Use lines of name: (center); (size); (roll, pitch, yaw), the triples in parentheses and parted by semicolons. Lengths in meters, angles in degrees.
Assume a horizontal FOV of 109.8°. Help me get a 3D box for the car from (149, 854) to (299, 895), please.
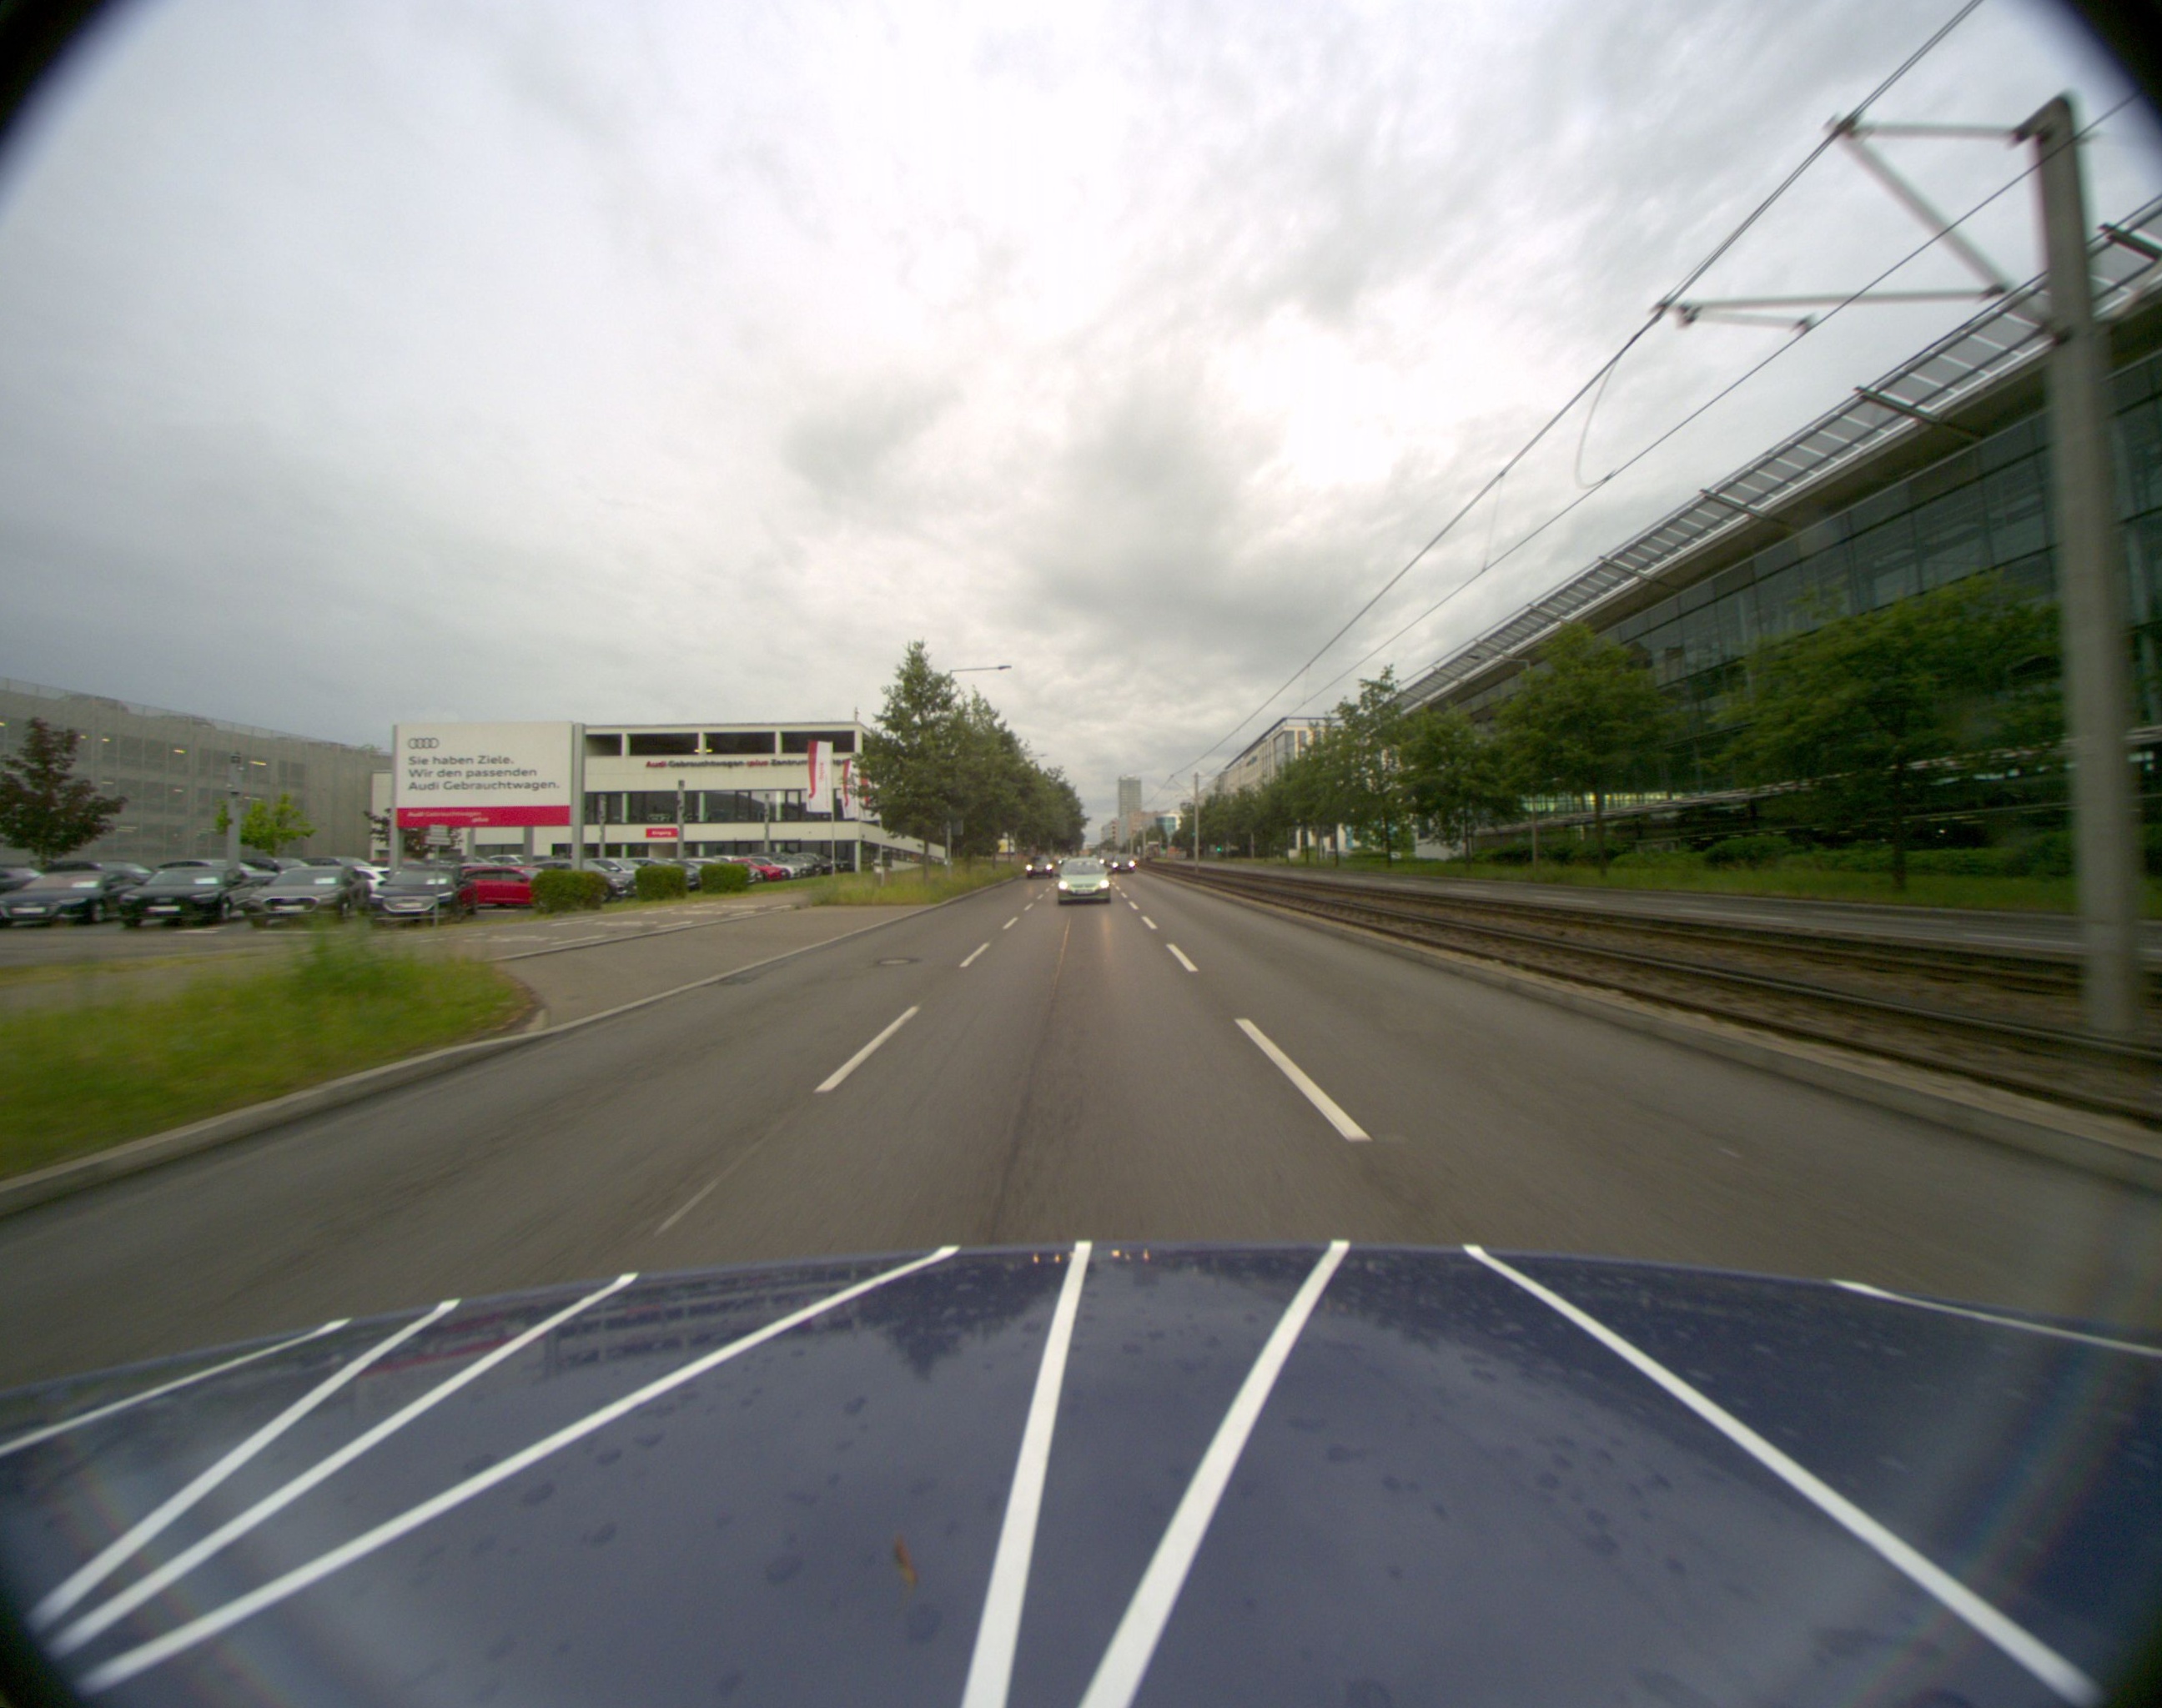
car: (-37.027, 0.864, 32.921); (4.288, 1.584, 1.826); (-1, 1, -2)

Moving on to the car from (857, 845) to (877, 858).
car: (-29.646, -0.408, 105.358); (1.702, 1.666, 3.641); (-3, 1, 0)

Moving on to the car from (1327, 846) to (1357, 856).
car: (39.044, -0.462, 113.828); (3.990, 1.383, 1.806); (-2, 1, 28)

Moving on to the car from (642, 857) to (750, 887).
car: (-19.499, 0.889, 38.610); (4.472, 1.447, 1.930); (0, 1, 0)

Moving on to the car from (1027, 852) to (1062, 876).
car: (-2.615, 0.757, 55.175); (1.828, 1.599, 4.117); (-2, -1, 7)

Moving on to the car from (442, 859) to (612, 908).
car: (-19.470, 1.012, 26.885); (4.474, 1.542, 1.930); (-1, 1, -4)

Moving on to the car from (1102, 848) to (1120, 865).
car: (3.401, 0.330, 84.944); (1.860, 1.799, 4.116); (-2, -1, 3)

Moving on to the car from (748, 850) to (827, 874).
car: (-19.411, 0.540, 50.441); (4.408, 1.492, 2.040); (0, 1, 0)

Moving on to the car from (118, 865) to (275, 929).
car: (-25.143, 1.144, 21.788); (1.775, 1.584, 3.983); (1, 0, -31)

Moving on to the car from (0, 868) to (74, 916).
car: (-38.913, 1.352, 26.745); (4.288, 1.584, 1.826); (-1, 1, -2)

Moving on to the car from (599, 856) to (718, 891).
car: (-19.851, 0.893, 35.812); (4.472, 1.520, 1.930); (0, 1, 0)

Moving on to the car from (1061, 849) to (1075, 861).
car: (-2.017, 0.155, 119.357); (1.860, 1.799, 4.116); (-2, -1, 3)

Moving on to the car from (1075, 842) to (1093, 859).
car: (0.391, -0.498, 98.192); (1.998, 2.002, 4.000); (-3, 1, 4)

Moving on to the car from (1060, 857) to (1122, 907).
car: (0.420, 0.901, 25.931); (1.828, 1.499, 4.115); (-3, -1, 4)

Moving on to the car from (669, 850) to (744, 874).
car: (-26.174, 0.569, 53.181); (4.288, 1.542, 1.826); (-1, 1, -2)

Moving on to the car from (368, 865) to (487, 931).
car: (-18.984, 1.192, 22.275); (1.840, 1.584, 4.350); (-2, 1, -30)

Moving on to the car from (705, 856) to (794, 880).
car: (-19.533, 0.820, 44.871); (4.408, 1.341, 1.930); (0, 2, 0)

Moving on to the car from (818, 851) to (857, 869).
car: (-19.530, 0.481, 61.137); (1.902, 1.330, 3.921); (-1, 1, 0)

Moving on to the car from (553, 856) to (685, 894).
car: (-19.839, 0.888, 32.757); (4.472, 1.542, 1.930); (0, 1, 0)

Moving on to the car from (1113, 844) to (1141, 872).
car: (3.588, 0.307, 59.379); (1.998, 2.002, 4.000); (-3, 1, 3)

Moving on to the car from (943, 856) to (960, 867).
car: (-18.914, 1.063, 111.198); (1.702, 1.476, 4.460); (-3, 1, 0)

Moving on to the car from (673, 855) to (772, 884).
car: (-19.661, 0.830, 41.815); (4.472, 1.447, 1.930); (-1, 1, 0)

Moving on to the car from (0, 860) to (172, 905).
car: (-38.344, 1.073, 29.275); (4.288, 1.584, 1.826); (-1, 1, -2)

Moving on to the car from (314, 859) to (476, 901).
car: (-26.995, 0.995, 30.024); (4.474, 1.542, 1.930); (0, 1, -4)

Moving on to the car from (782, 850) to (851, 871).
car: (-19.742, 0.486, 56.839); (4.408, 1.473, 1.930); (-1, 1, 0)

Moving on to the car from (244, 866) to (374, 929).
car: (-21.948, 1.163, 21.764); (1.775, 1.584, 3.553); (1, 0, -31)

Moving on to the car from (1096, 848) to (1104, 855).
car: (5.660, -0.711, 226.714); (1.998, 1.838, 4.000); (-3, 1, 2)

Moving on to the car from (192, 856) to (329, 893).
car: (-38.397, 0.925, 35.648); (4.288, 1.584, 1.826); (-1, 1, -2)

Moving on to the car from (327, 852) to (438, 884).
car: (-38.495, 0.761, 41.936); (4.288, 1.584, 1.826); (-1, 1, -2)

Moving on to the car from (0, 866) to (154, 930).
car: (-28.162, 1.161, 21.246); (1.775, 1.584, 3.553); (1, 0, -31)

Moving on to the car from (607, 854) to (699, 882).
car: (-25.157, 0.812, 44.746); (4.288, 1.542, 1.826); (-1, 1, -2)

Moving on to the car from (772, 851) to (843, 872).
car: (-19.299, 0.525, 53.720); (4.331, 1.370, 1.836); (-1, 1, -2)

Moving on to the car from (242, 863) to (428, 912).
car: (-26.115, 1.152, 26.745); (4.474, 1.542, 1.930); (1, 1, -4)

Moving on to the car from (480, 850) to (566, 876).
car: (-37.014, 0.571, 50.455); (4.288, 1.584, 1.826); (-1, 1, -2)

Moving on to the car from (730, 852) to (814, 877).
car: (-19.287, 0.645, 47.533); (4.408, 1.419, 1.890); (0, 1, 0)
